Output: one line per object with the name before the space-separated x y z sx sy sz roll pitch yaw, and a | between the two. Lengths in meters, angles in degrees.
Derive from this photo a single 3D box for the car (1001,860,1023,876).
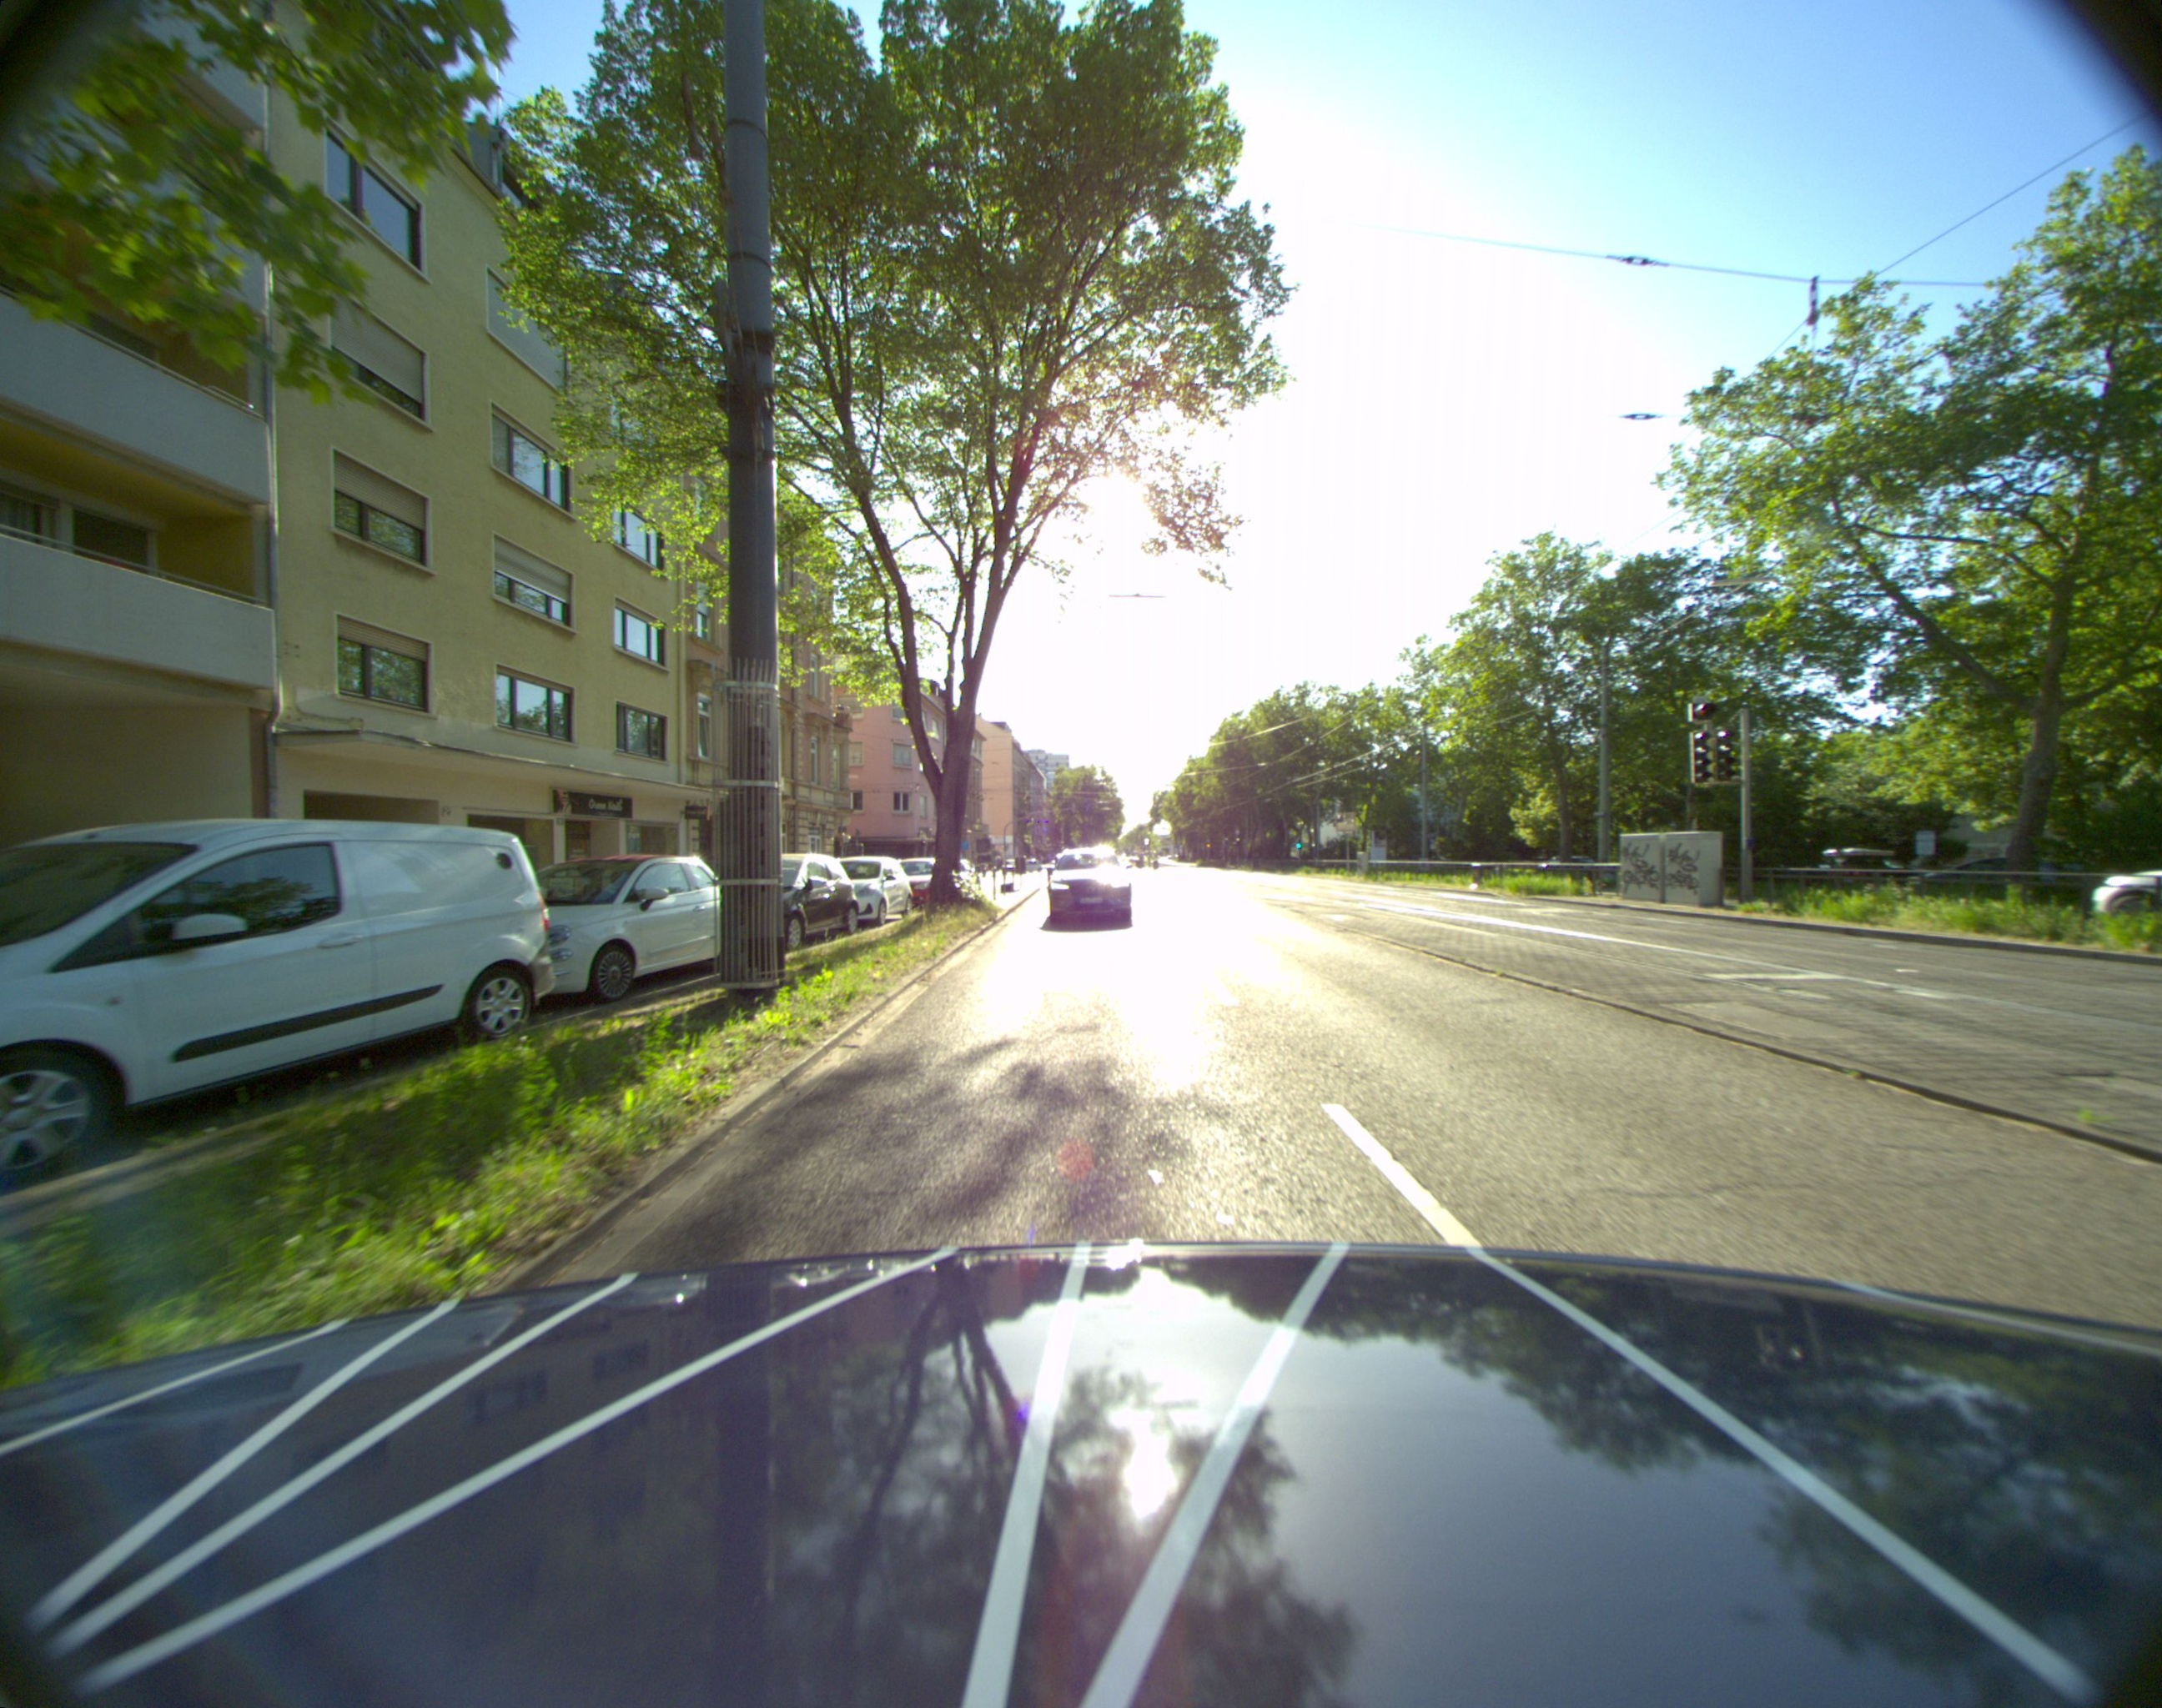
car | -6.936 1.360 76.464 1.739 1.510 4.001 1 0 1

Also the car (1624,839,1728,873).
car | 28.668 0.112 36.802 1.745 1.462 4.348 -3 0 3

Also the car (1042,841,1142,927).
car | 0.267 0.625 17.496 1.968 1.663 4.001 -3 0 1

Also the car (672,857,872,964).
car | -4.990 0.833 12.865 1.565 1.476 3.788 -3 0 4

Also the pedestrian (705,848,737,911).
pedestrian | -11.809 0.825 24.931 0.513 2.002 0.852 -3 0 5

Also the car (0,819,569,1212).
car | -5.316 0.722 4.387 1.629 1.658 4.143 -3 0 4

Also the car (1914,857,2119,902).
car | 27.858 0.701 22.839 1.624 1.214 3.763 -1 0 3

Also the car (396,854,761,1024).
car | -5.253 0.782 8.553 1.515 1.471 3.493 -3 0 5

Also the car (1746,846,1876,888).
car | 28.311 0.501 29.632 1.595 1.462 3.823 -3 0 6

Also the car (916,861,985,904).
car | -4.794 1.000 28.429 1.700 1.413 4.170 -3 0 2

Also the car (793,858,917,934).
car | -4.970 0.859 17.206 1.630 1.468 3.698 -3 0 0

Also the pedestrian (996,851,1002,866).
pedestrian | -9.430 0.543 87.394 0.495 1.752 0.660 -1 1 2

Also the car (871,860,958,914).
car | -4.928 0.932 22.977 1.593 1.426 3.906 -3 0 2

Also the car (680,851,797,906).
car | -10.005 0.673 22.531 1.697 1.471 4.000 0 -1 0

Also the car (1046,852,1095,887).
car | -0.559 0.707 35.728 1.661 1.473 3.969 -3 0 -10

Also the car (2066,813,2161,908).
car | 19.229 0.058 11.805 1.890 1.610 4.598 -3 0 1

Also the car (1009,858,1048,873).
car | -5.803 1.239 84.484 4.007 1.442 1.812 -2 -1 -41
